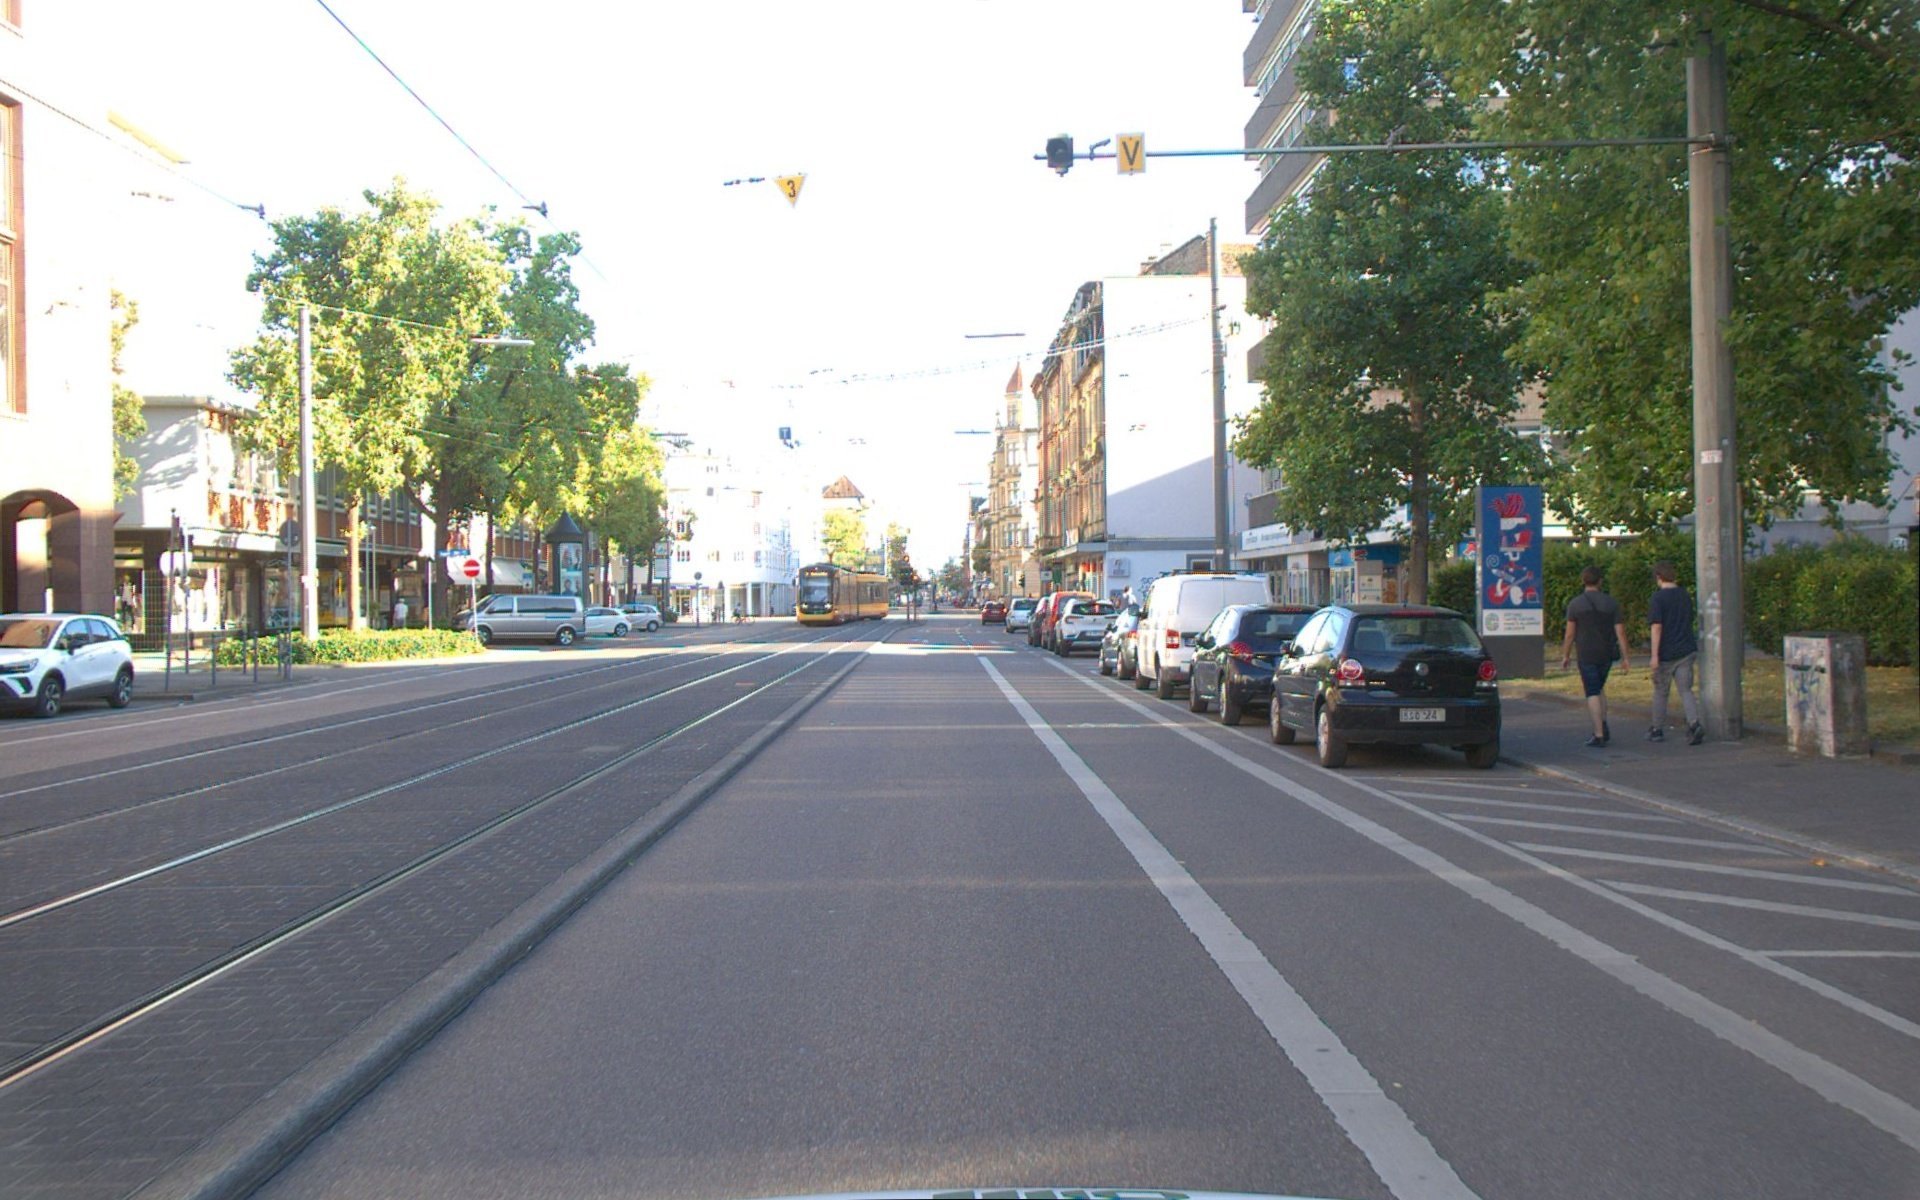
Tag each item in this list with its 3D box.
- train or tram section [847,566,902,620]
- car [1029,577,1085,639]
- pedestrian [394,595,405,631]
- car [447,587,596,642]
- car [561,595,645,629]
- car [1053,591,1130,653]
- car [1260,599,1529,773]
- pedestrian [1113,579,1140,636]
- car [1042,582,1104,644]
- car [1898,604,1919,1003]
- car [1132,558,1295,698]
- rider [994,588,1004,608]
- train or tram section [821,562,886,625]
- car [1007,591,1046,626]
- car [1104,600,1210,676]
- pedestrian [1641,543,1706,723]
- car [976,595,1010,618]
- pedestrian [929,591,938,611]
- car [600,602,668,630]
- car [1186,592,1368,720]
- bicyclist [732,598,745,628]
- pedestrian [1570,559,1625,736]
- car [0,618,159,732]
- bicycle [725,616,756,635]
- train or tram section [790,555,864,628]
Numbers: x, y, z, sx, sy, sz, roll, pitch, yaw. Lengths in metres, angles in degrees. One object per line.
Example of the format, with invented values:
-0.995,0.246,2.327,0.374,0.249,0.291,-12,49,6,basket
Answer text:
-6.300,-0.545,123.724,2.635,3.818,11.294,1,0,4,train or tram section
3.274,0.242,56.635,1.588,2.041,3.830,1,0,-1,car
-21.289,0.497,62.844,0.357,1.367,0.480,1,0,-21,pedestrian
-17.240,0.592,65.152,5.204,2.078,2.391,1,-1,-33,car
-18.223,0.603,84.421,3.831,1.656,1.855,0,1,-32,car
3.639,0.581,46.304,1.688,1.595,4.082,-2,1,-1,car
4.143,0.749,16.385,1.588,1.456,3.984,0,1,0,car
5.237,0.230,52.068,0.716,1.752,0.834,-1,0,0,pedestrian
3.548,0.376,52.392,1.588,1.845,4.082,1,1,-1,car
4.390,0.798,3.847,1.681,1.452,4.674,0,2,-1,car
4.108,0.406,27.546,1.931,2.049,4.558,-2,1,0,car
2.924,-0.153,124.828,0.696,1.507,0.886,1,0,-1,rider
-7.073,-0.495,111.628,2.635,3.946,12.850,1,1,4,train or tram section
3.143,0.387,78.907,1.588,1.582,4.082,1,1,-1,car
3.969,0.736,33.849,1.588,1.394,3.930,1,1,-1,car
7.088,0.326,16.440,0.488,1.739,0.454,-2,3,17,pedestrian
2.075,0.396,105.727,2.024,1.413,4.224,1,1,-1,car
-2.727,0.118,168.744,0.901,2.049,0.759,1,0,-1,pedestrian
-18.673,0.915,94.826,3.487,1.507,1.564,0,0,-33,car
4.056,0.660,21.717,1.588,1.499,3.970,0,1,-1,car
-15.253,0.917,113.898,0.706,2.049,0.701,1,0,6,bicyclist
6.404,0.471,16.629,0.417,1.739,0.454,-3,1,18,pedestrian
-15.040,1.171,27.237,1.832,1.628,4.251,-1,1,-4,car
-15.115,1.739,113.904,1.977,1.261,0.701,1,0,6,bicycle
-7.855,-0.514,99.144,2.635,4.029,12.096,1,0,4,train or tram section
